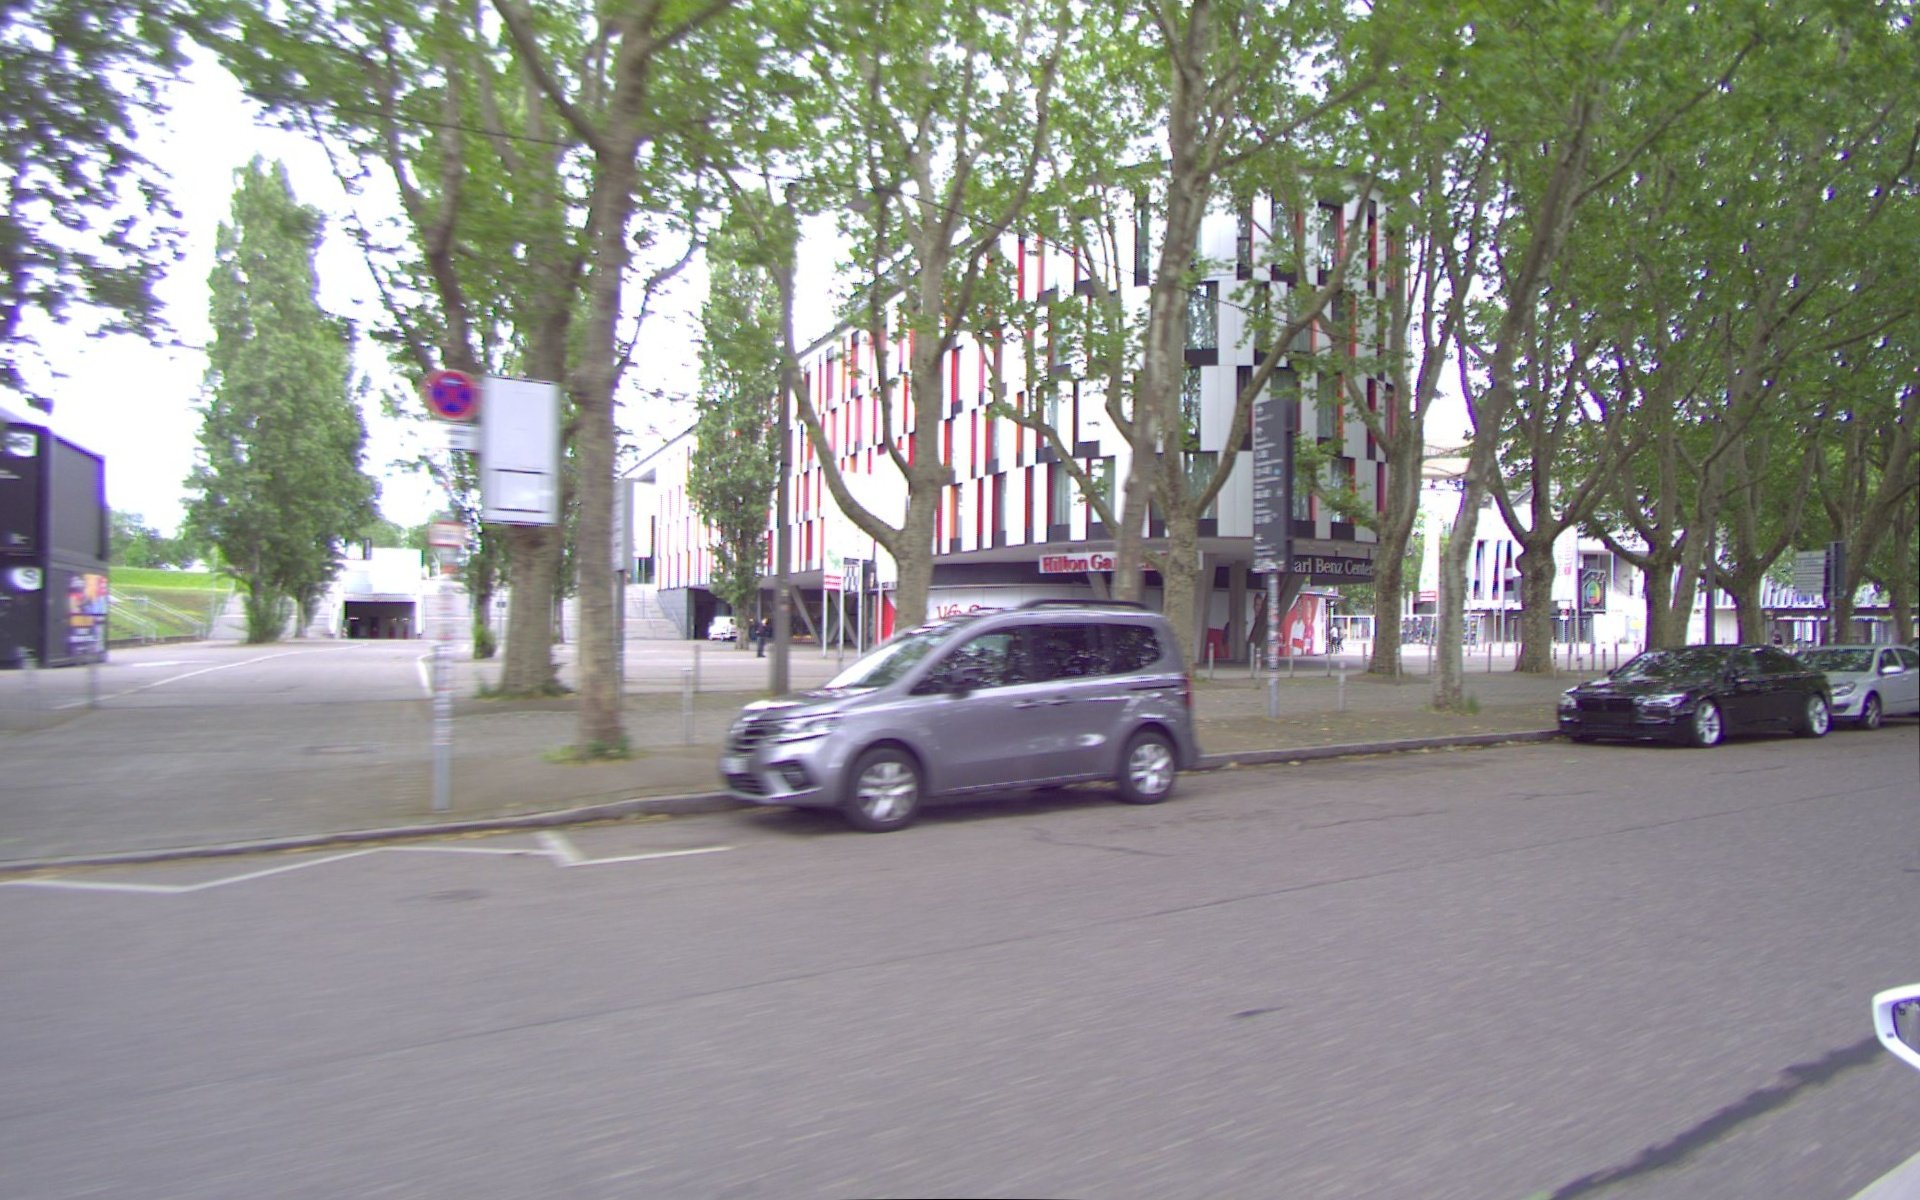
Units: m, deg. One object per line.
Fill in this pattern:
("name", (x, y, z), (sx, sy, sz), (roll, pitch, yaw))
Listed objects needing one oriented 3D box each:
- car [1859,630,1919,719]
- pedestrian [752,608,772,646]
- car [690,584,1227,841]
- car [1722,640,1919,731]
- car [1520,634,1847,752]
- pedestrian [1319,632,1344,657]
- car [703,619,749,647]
("car", (20.744, 1.511, 20.871), (4.598, 1.740, 1.859), (2, -5, -33))
("pedestrian", (-8.977, 1.225, 45.525), (0.684, 1.712, 0.640), (1, -1, -27))
("car", (0.066, 0.918, 9.122), (4.558, 1.818, 1.887), (2, -5, -30))
("car", (15.802, 1.487, 18.056), (4.179, 1.474, 1.826), (1, -5, -30))
("car", (11.198, 1.318, 15.480), (5.081, 1.550, 2.076), (1, -3, -28))
("pedestrian", (23.140, 2.769, 62.615), (1.098, 1.481, 1.039), (1, -2, -32))
("car", (-19.375, 2.676, 83.071), (2.284, 2.040, 5.143), (-4, 1, -29))
